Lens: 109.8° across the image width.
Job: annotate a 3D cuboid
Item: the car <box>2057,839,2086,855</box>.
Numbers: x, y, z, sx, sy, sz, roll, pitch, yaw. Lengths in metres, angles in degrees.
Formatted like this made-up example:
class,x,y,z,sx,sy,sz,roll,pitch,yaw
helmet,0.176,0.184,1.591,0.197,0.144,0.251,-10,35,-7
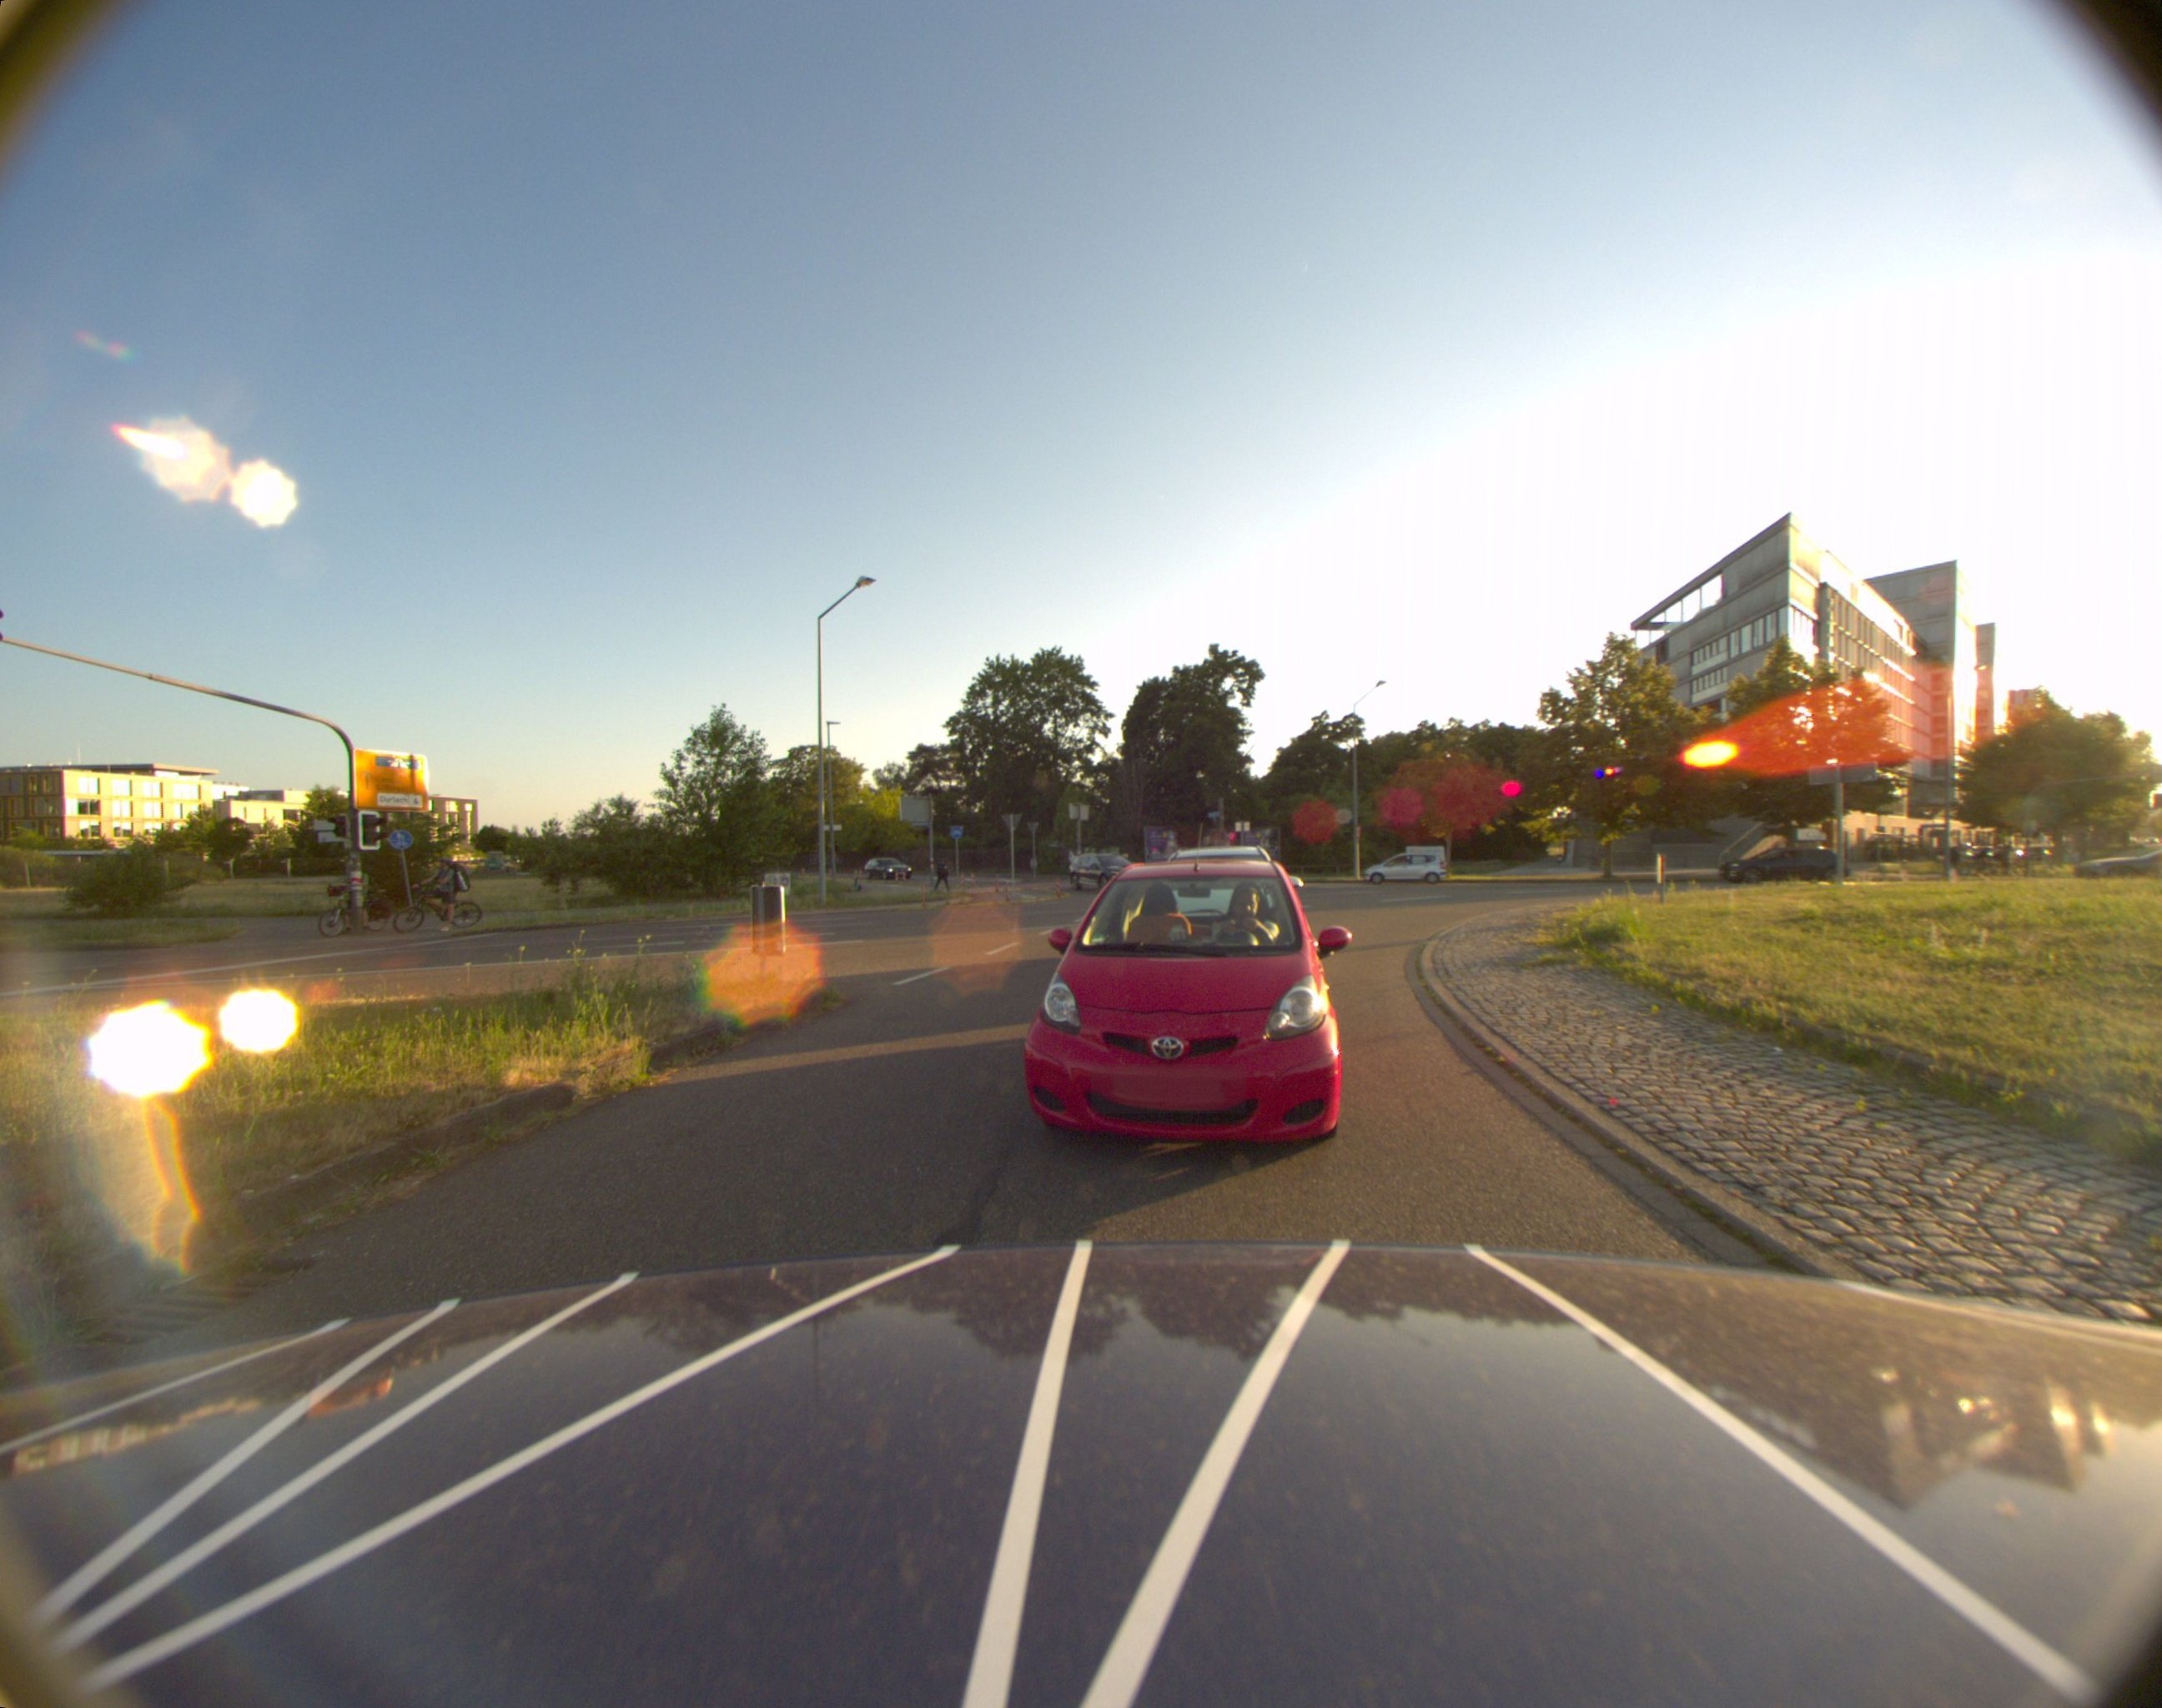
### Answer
class,x,y,z,sx,sy,sz,roll,pitch,yaw
car,113.368,-0.792,86.973,4.007,1.806,1.894,-1,1,-35

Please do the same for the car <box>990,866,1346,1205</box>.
class,x,y,z,sx,sy,sz,roll,pitch,yaw
car,0.870,0.866,5.567,1.686,1.412,4.004,-1,1,14

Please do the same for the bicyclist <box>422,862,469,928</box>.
class,x,y,z,sx,sy,sz,roll,pitch,yaw
bicyclist,-16.903,1.074,20.204,0.723,1.680,0.690,0,1,29

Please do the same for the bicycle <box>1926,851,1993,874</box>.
class,x,y,z,sx,sy,sz,roll,pitch,yaw
bicycle,47.623,0.453,41.212,0.744,1.237,2.341,-2,1,-40

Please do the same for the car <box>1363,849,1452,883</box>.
class,x,y,z,sx,sy,sz,roll,pitch,yaw
car,15.928,0.572,37.154,3.883,1.571,1.958,-1,1,24

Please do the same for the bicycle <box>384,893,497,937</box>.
class,x,y,z,sx,sy,sz,roll,pitch,yaw
bicycle,-16.919,1.588,20.147,0.708,0.957,2.149,-1,1,27

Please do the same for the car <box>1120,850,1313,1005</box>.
class,x,y,z,sx,sy,sz,roll,pitch,yaw
car,1.705,0.776,10.158,1.997,1.597,4.200,-1,1,8

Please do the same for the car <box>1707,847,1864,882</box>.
class,x,y,z,sx,sy,sz,roll,pitch,yaw
car,29.112,0.436,31.588,4.374,1.368,2.003,-1,1,21

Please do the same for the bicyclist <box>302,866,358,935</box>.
class,x,y,z,sx,sy,sz,roll,pitch,yaw
bicyclist,-19.100,1.169,19.327,0.724,1.680,0.690,-1,1,13

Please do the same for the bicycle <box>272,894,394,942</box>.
class,x,y,z,sx,sy,sz,roll,pitch,yaw
bicycle,-19.040,1.610,19.416,0.708,0.958,2.109,-1,2,15

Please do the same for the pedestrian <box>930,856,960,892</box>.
class,x,y,z,sx,sy,sz,roll,pitch,yaw
pedestrian,-6.043,0.874,33.784,0.993,1.581,0.924,-2,1,-35

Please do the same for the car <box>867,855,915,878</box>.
class,x,y,z,sx,sy,sz,roll,pitch,yaw
car,-13.385,0.844,53.486,2.003,1.477,3.990,-2,1,-34

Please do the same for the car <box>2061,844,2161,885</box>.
class,x,y,z,sx,sy,sz,roll,pitch,yaw
car,38.321,0.353,26.767,4.339,1.368,2.004,-1,1,41

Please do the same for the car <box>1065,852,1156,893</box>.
class,x,y,z,sx,sy,sz,roll,pitch,yaw
car,1.181,0.735,32.537,2.003,1.588,4.304,-1,1,-27

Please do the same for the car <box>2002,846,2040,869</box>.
class,x,y,z,sx,sy,sz,roll,pitch,yaw
car,88.242,0.319,71.295,4.007,2.002,1.995,-1,1,-35

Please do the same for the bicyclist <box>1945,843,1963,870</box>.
class,x,y,z,sx,sy,sz,roll,pitch,yaw
bicyclist,47.512,0.133,41.353,0.693,1.432,0.610,-2,1,-41

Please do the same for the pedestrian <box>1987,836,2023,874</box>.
class,x,y,z,sx,sy,sz,roll,pitch,yaw
pedestrian,49.901,0.023,41.049,0.776,2.002,0.998,-2,1,-11
